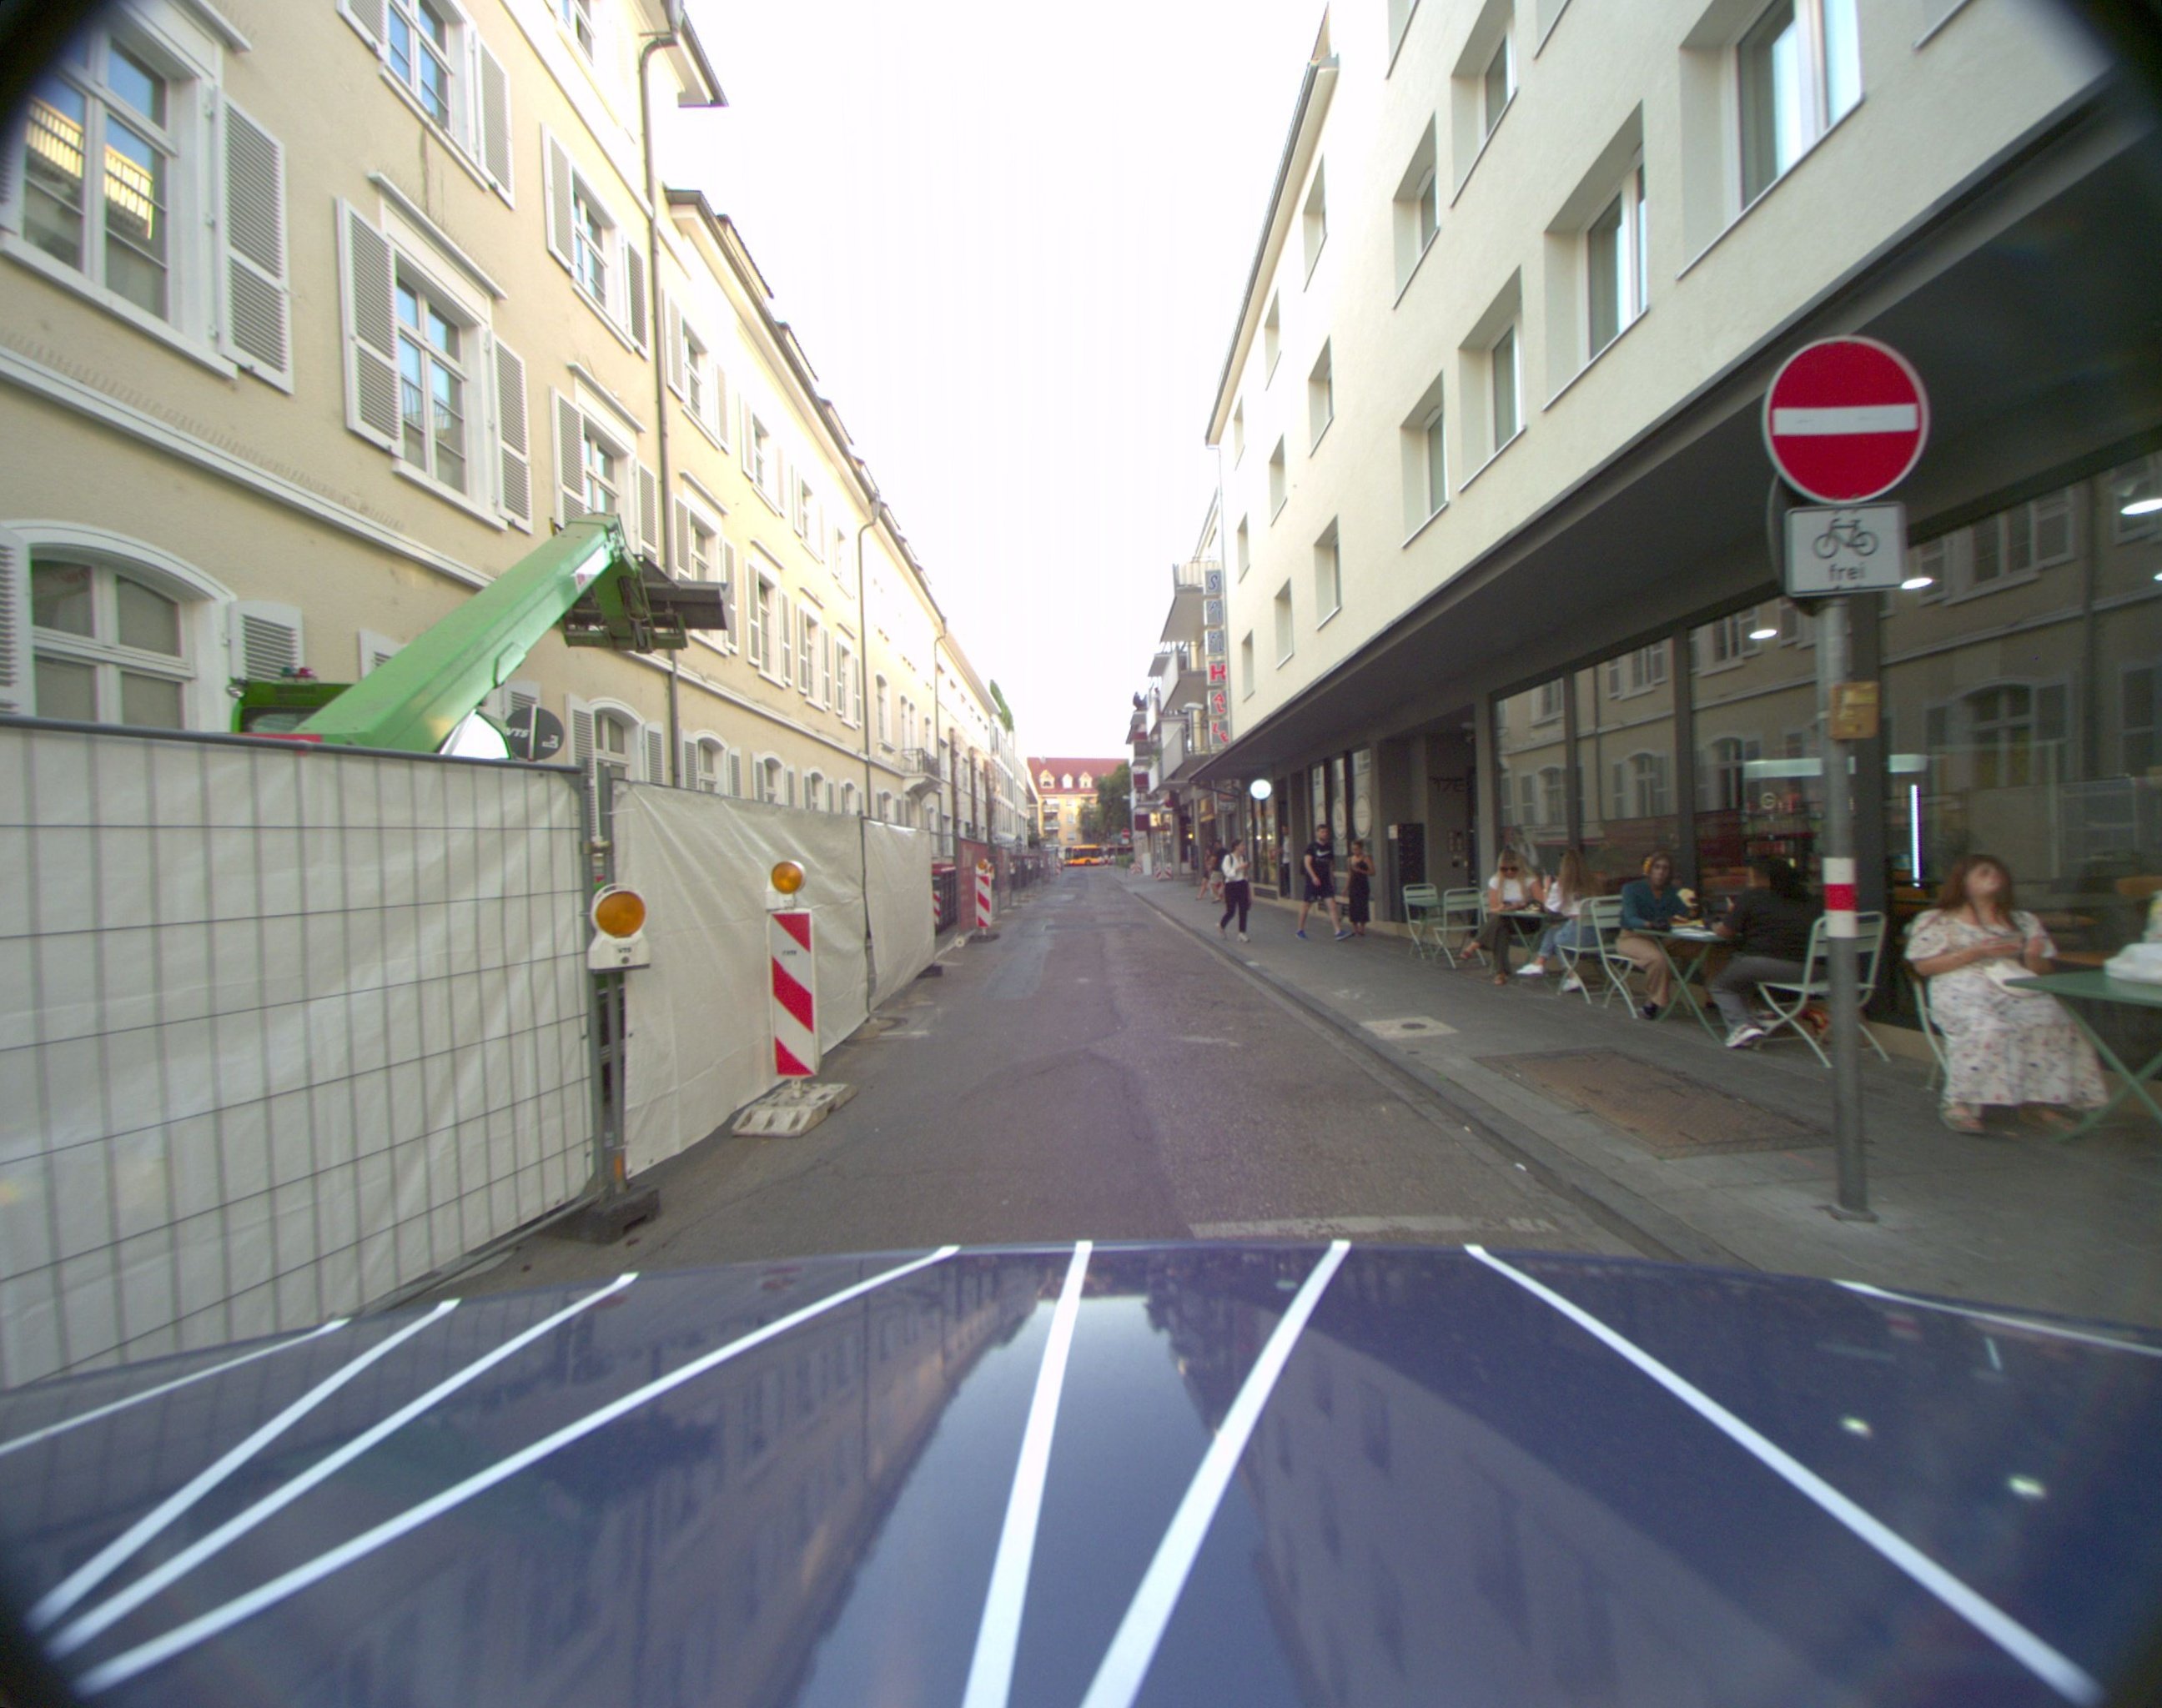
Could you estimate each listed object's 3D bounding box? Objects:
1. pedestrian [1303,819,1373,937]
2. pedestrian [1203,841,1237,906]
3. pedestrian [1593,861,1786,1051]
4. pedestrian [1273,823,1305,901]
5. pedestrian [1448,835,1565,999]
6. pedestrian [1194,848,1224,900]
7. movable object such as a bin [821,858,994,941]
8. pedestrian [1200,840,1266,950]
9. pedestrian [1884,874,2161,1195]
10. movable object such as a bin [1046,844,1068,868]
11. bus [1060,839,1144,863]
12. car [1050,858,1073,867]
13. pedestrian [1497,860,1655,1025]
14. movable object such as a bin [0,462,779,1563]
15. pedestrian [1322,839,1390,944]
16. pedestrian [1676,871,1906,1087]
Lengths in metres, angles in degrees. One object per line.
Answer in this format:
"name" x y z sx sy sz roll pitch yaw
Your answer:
"pedestrian" 4.146 0.379 12.319 0.716 1.800 0.933 -3 0 1
"pedestrian" 3.932 0.532 21.520 0.706 1.771 0.932 -3 1 0
"pedestrian" 4.434 0.705 5.603 0.705 1.232 0.778 -6 0 3
"pedestrian" 4.909 0.188 17.959 0.545 1.800 0.613 -1 1 0
"pedestrian" 4.266 0.603 7.672 0.705 1.538 0.861 -3 1 8
"pedestrian" 4.015 0.627 23.859 0.710 1.569 0.613 -4 1 -3
"movable object such as a bin" -4.044 0.992 19.551 2.898 1.655 7.293 -2 0 -1
"pedestrian" 2.506 0.649 12.550 0.760 1.729 0.783 0 1 -26
"pedestrian" 4.269 0.726 3.444 0.704 1.212 0.843 -3 1 37
"movable object such as a bin" -2.710 0.226 87.118 2.096 2.631 4.373 -3 0 1
"bus" 3.272 -0.451 117.483 12.550 3.306 3.916 -2 1 -27
"car" -3.035 1.360 120.310 1.795 1.466 3.990 -2 0 -33
"pedestrian" 4.263 0.717 6.585 0.707 1.278 0.859 -3 1 -24
"movable object such as a bin" -4.228 0.436 4.617 2.642 2.856 5.564 -2 0 -2
"pedestrian" 4.319 0.581 11.938 0.659 1.560 0.637 -4 0 -26
"pedestrian" 4.404 0.739 4.769 0.705 1.188 0.691 -6 0 3
